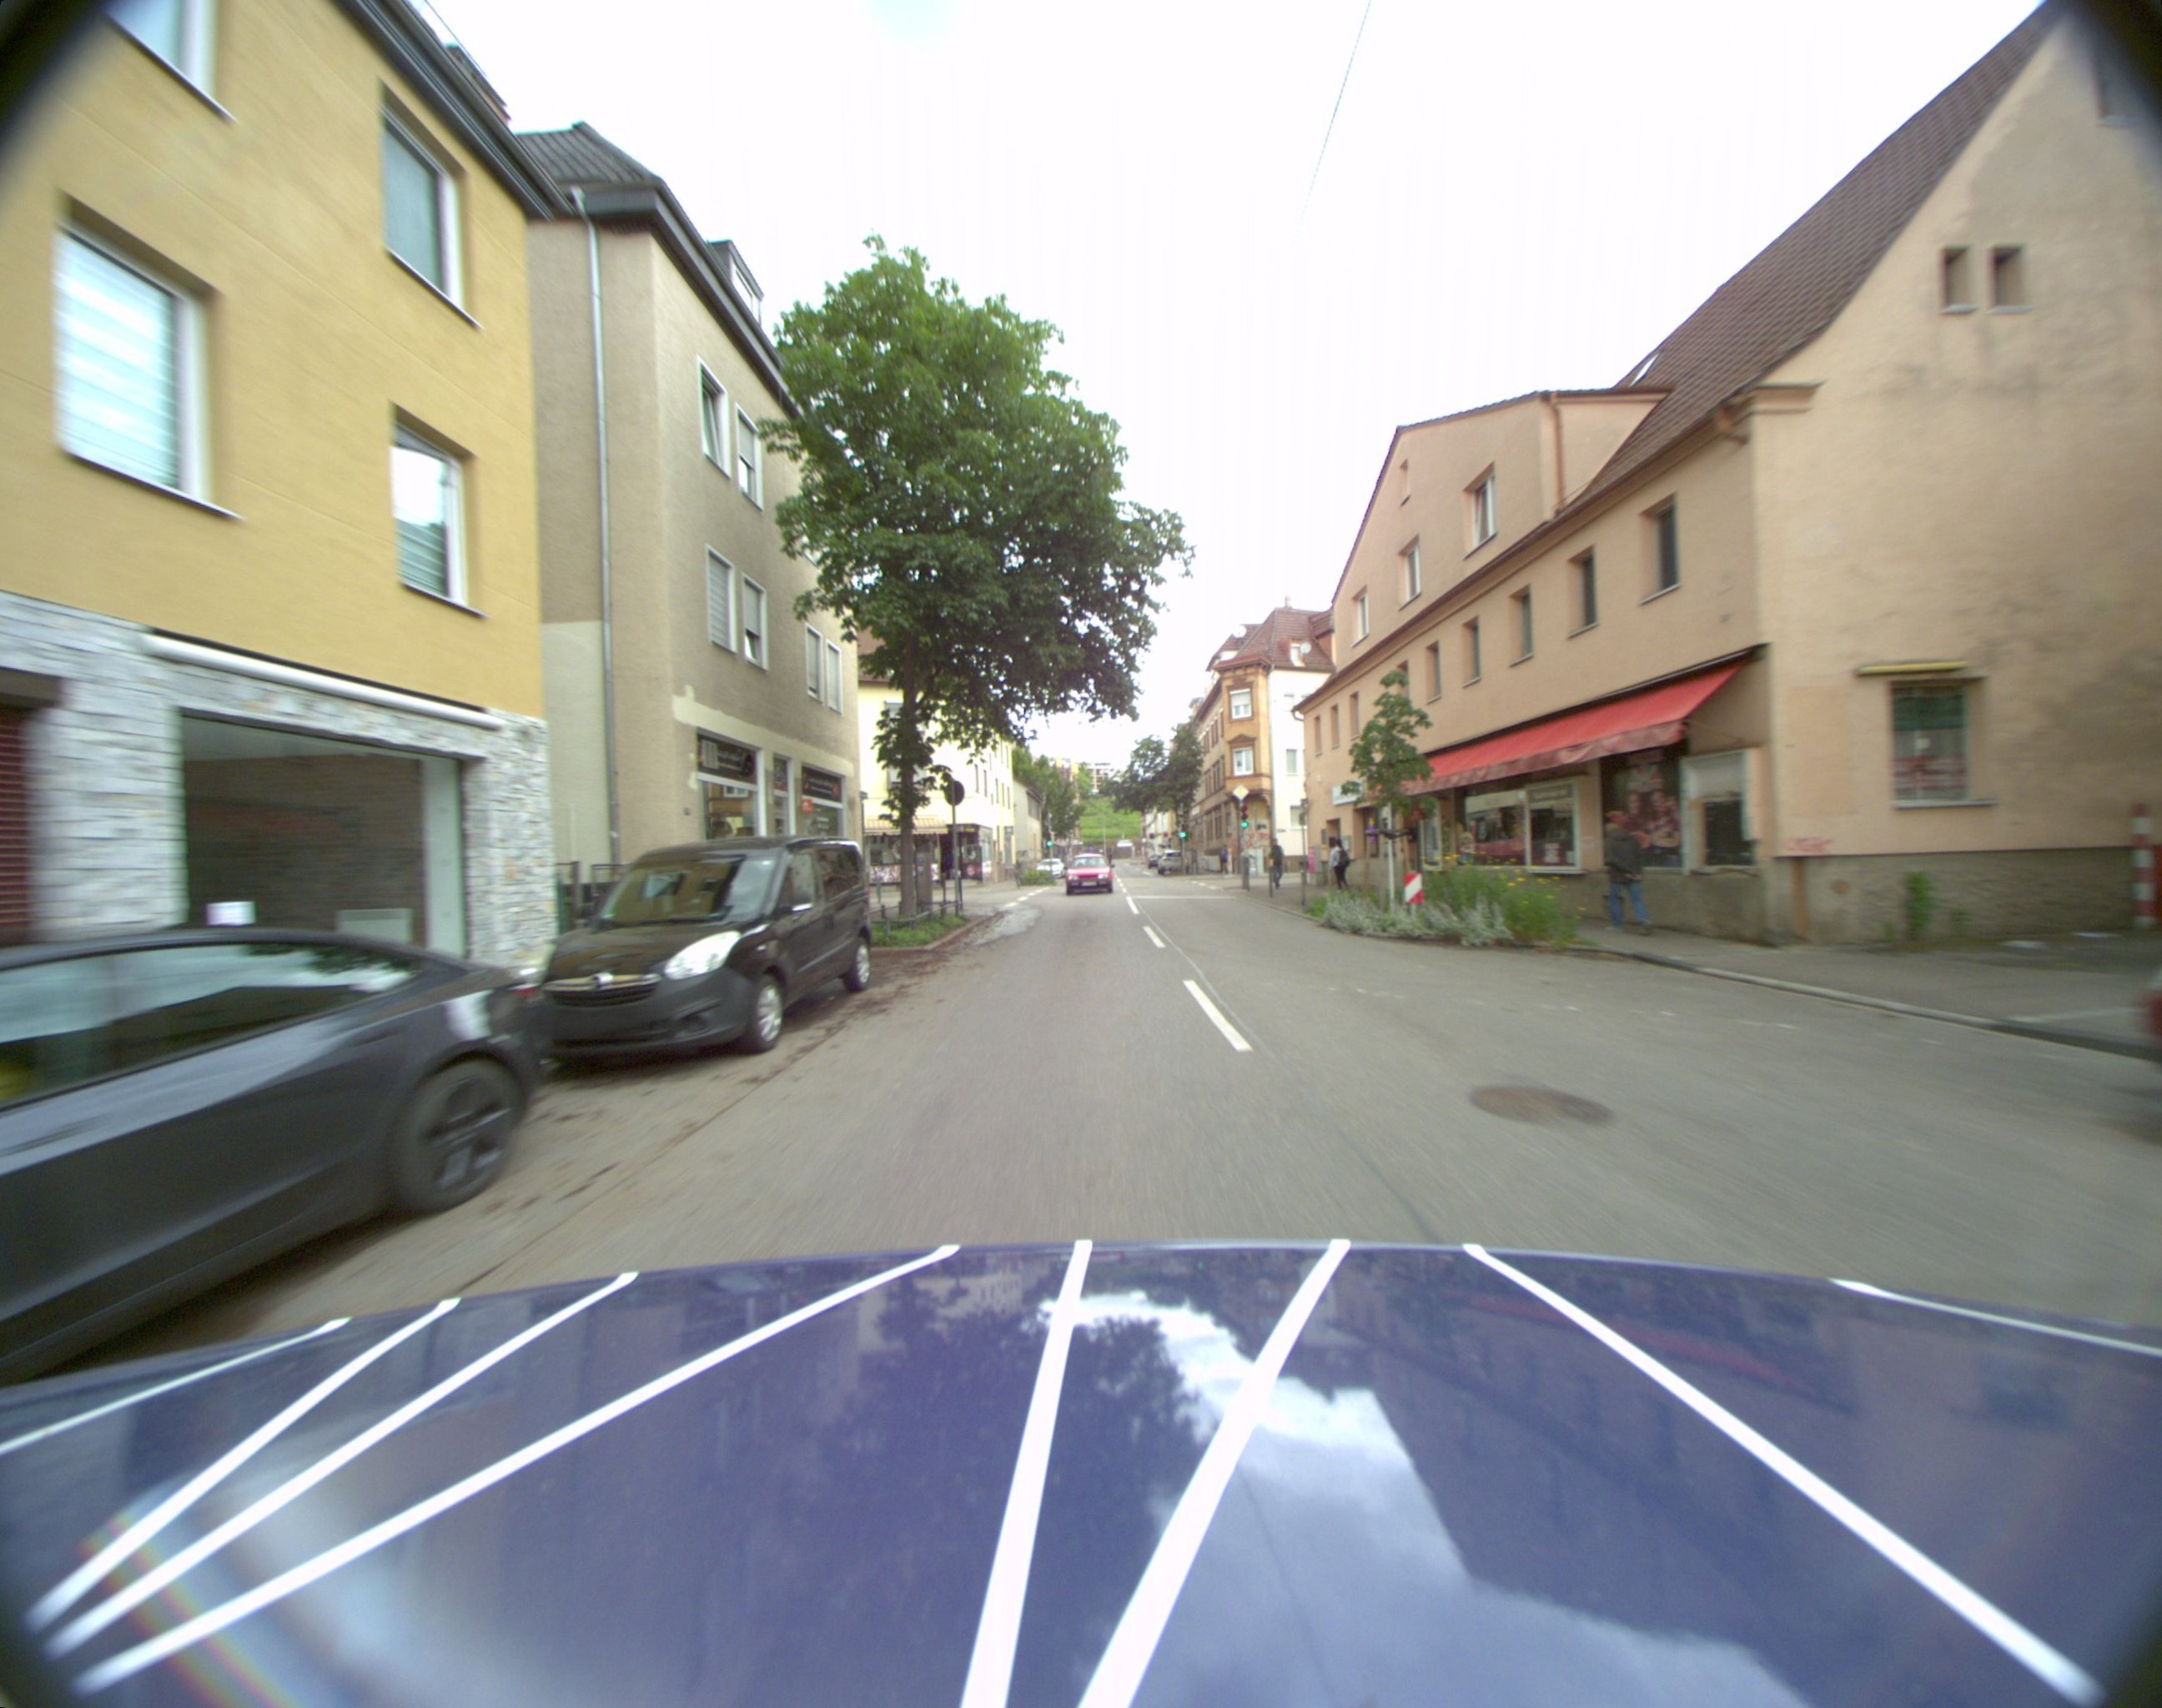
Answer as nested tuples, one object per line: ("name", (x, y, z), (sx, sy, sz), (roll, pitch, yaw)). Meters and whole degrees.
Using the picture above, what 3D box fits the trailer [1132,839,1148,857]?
("trailer", (9.470, -0.924, 122.740), (2.450, 2.788, 6.304), (-1, 1, 4))

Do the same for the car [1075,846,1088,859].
("car", (0.098, -0.259, 126.560), (1.998, 1.970, 4.878), (-2, 1, 1))

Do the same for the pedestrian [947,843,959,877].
("pedestrian", (-6.811, 0.320, 40.499), (0.397, 1.764, 0.386), (-4, 2, -32))

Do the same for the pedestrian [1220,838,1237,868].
("pedestrian", (8.831, -0.053, 45.538), (0.740, 1.708, 1.156), (-3, 1, -1))

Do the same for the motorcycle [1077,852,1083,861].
("motorcycle", (-0.160, 0.338, 104.520), (0.648, 1.219, 2.337), (-3, 1, 2))

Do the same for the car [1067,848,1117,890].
("car", (0.473, 0.509, 28.180), (1.626, 1.387, 4.001), (-2, 1, 4))

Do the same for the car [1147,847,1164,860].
("car", (7.900, -0.059, 80.662), (1.582, 1.375, 4.355), (-1, 1, 3))

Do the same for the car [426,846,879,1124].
("car", (-3.448, 0.859, 7.300), (1.824, 1.771, 4.402), (-3, 1, -1))

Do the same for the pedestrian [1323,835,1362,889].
("pedestrian", (7.816, 0.230, 22.739), (0.740, 1.526, 0.982), (-3, 1, 0))

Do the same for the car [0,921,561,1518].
("car", (-3.820, 1.120, 1.940), (1.755, 1.398, 4.511), (-1, 1, 1))

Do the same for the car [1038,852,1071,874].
("car", (-1.921, 0.659, 56.141), (1.771, 1.457, 4.784), (-2, 0, 5))

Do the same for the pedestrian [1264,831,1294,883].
("pedestrian", (6.893, 0.116, 26.459), (0.740, 1.744, 0.983), (-3, 1, 2))

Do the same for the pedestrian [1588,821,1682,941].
("pedestrian", (7.962, 0.365, 10.953), (0.732, 1.619, 0.758), (-4, 2, -3))

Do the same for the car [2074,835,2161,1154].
("car", (6.149, 0.693, 1.823), (1.707, 1.565, 4.450), (0, 0, 0))

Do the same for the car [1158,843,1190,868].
("car", (6.782, 0.086, 55.739), (1.895, 1.702, 4.741), (0, 0, 2))
